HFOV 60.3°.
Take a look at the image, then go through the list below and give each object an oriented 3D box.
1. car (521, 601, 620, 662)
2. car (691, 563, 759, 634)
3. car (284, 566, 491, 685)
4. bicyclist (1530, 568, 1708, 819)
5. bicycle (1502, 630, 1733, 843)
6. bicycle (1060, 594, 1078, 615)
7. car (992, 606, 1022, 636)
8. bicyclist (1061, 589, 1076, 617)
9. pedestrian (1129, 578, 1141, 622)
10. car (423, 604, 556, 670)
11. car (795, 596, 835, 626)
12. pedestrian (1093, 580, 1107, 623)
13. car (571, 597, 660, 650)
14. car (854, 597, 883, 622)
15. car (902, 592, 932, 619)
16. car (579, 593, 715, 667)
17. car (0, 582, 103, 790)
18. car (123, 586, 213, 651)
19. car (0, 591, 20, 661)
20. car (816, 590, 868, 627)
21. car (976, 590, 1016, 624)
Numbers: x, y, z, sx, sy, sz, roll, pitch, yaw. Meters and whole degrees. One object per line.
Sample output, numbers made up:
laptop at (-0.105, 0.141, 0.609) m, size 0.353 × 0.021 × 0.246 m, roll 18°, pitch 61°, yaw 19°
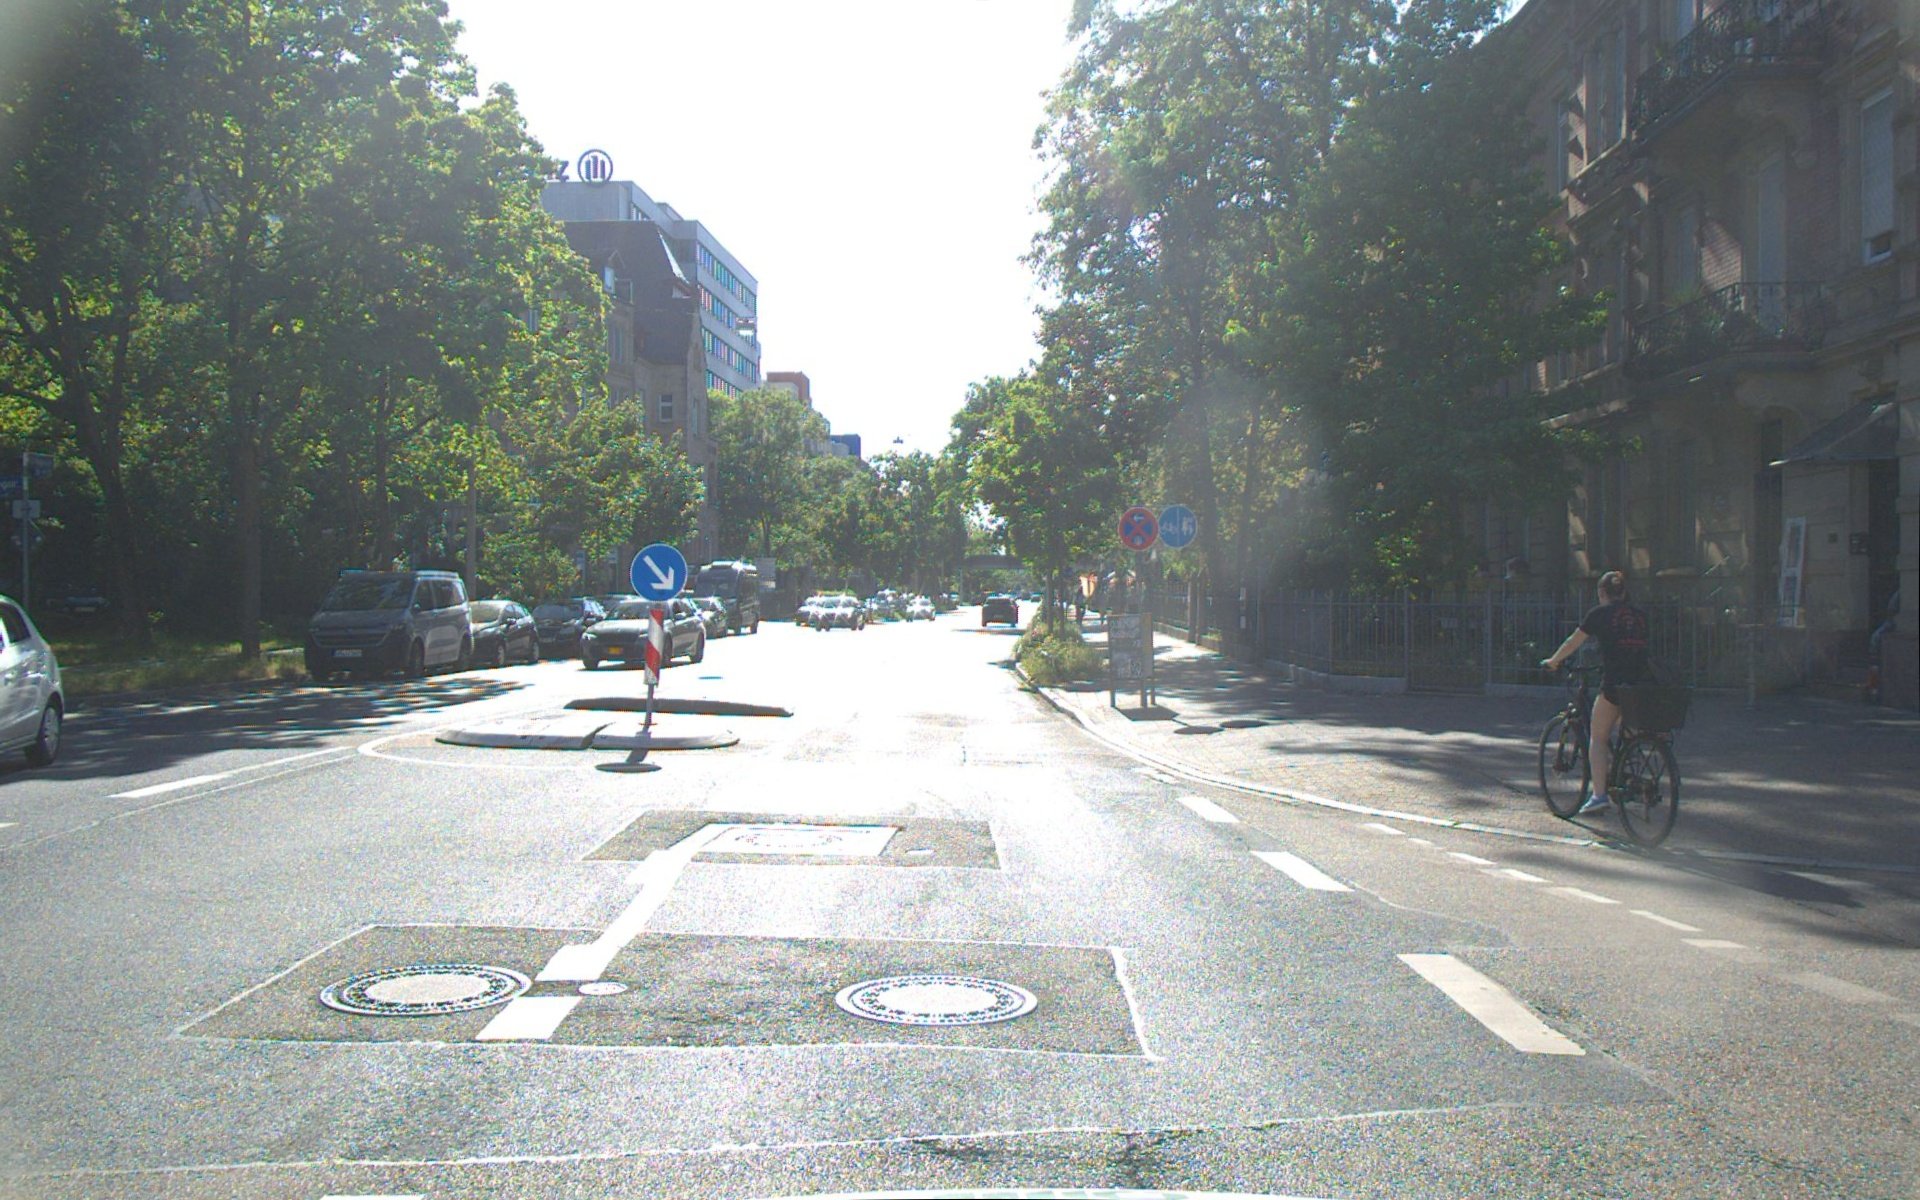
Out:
car at (-10.033, 0.841, 42.835) m, size 1.491 × 1.458 × 3.338 m, roll 1°, pitch -3°, yaw 5°
car at (-9.178, -0.094, 65.012) m, size 1.789 × 2.697 × 5.163 m, roll 0°, pitch 1°, yaw 1°
car at (-10.981, 0.500, 32.152) m, size 2.154 × 1.963 × 4.862 m, roll -4°, pitch -1°, yaw 1°
bicyclist at (4.440, 0.593, 11.220) m, size 0.726 × 1.607 × 1.100 m, roll 1°, pitch 1°, yaw -1°
bicycle at (4.394, 0.862, 11.220) m, size 0.726 × 1.240 × 1.960 m, roll -2°, pitch 0°, yaw -1°
bicycle at (5.200, 0.217, 79.177) m, size 0.661 × 0.954 × 2.280 m, roll 0°, pitch -1°, yaw -2°
car at (2.899, 1.253, 101.978) m, size 1.781 × 1.770 × 4.001 m, roll 0°, pitch 0°, yaw 2°
bicyclist at (5.199, 0.148, 79.232) m, size 0.666 × 1.351 × 0.636 m, roll 1°, pitch -3°, yaw -2°
pedestrian at (8.357, 0.011, 78.971) m, size 0.466 × 2.049 × 0.492 m, roll 1°, pitch -3°, yaw -2°
car at (-10.484, 0.875, 37.128) m, size 1.678 × 1.377 × 4.000 m, roll 1°, pitch -3°, yaw 2°
car at (-7.537, 0.541, 86.128) m, size 1.765 × 1.530 × 3.807 m, roll 0°, pitch 0°, yaw -1°
pedestrian at (6.687, 0.075, 78.929) m, size 0.602 × 2.049 × 0.681 m, roll 0°, pitch 0°, yaw -2°
car at (-10.072, 0.659, 48.534) m, size 1.491 × 1.457 × 3.556 m, roll 0°, pitch 0°, yaw 7°
car at (-6.380, 0.665, 115.592) m, size 1.895 × 1.546 × 4.029 m, roll 1°, pitch -3°, yaw -1°
car at (-2.792, 0.391, 107.867) m, size 1.895 × 1.546 × 4.029 m, roll 1°, pitch -3°, yaw -1°
car at (-6.740, 0.639, 36.034) m, size 1.746 × 1.486 × 4.418 m, roll 1°, pitch -1°, yaw 5°
car at (-8.148, 0.666, 12.684) m, size 1.727 × 1.545 × 3.849 m, roll -2°, pitch 1°, yaw -11°
car at (-21.514, 0.471, 45.045) m, size 1.948 × 1.691 × 3.973 m, roll 0°, pitch 0°, yaw -22°
car at (-25.021, 0.645, 41.911) m, size 1.956 × 1.691 × 3.957 m, roll -1°, pitch 1°, yaw -32°
car at (-5.039, 0.346, 71.290) m, size 1.604 × 1.545 × 4.033 m, roll 0°, pitch 0°, yaw 5°
car at (1.864, 0.340, 85.793) m, size 1.856 × 1.545 × 4.000 m, roll 2°, pitch 1°, yaw -1°
